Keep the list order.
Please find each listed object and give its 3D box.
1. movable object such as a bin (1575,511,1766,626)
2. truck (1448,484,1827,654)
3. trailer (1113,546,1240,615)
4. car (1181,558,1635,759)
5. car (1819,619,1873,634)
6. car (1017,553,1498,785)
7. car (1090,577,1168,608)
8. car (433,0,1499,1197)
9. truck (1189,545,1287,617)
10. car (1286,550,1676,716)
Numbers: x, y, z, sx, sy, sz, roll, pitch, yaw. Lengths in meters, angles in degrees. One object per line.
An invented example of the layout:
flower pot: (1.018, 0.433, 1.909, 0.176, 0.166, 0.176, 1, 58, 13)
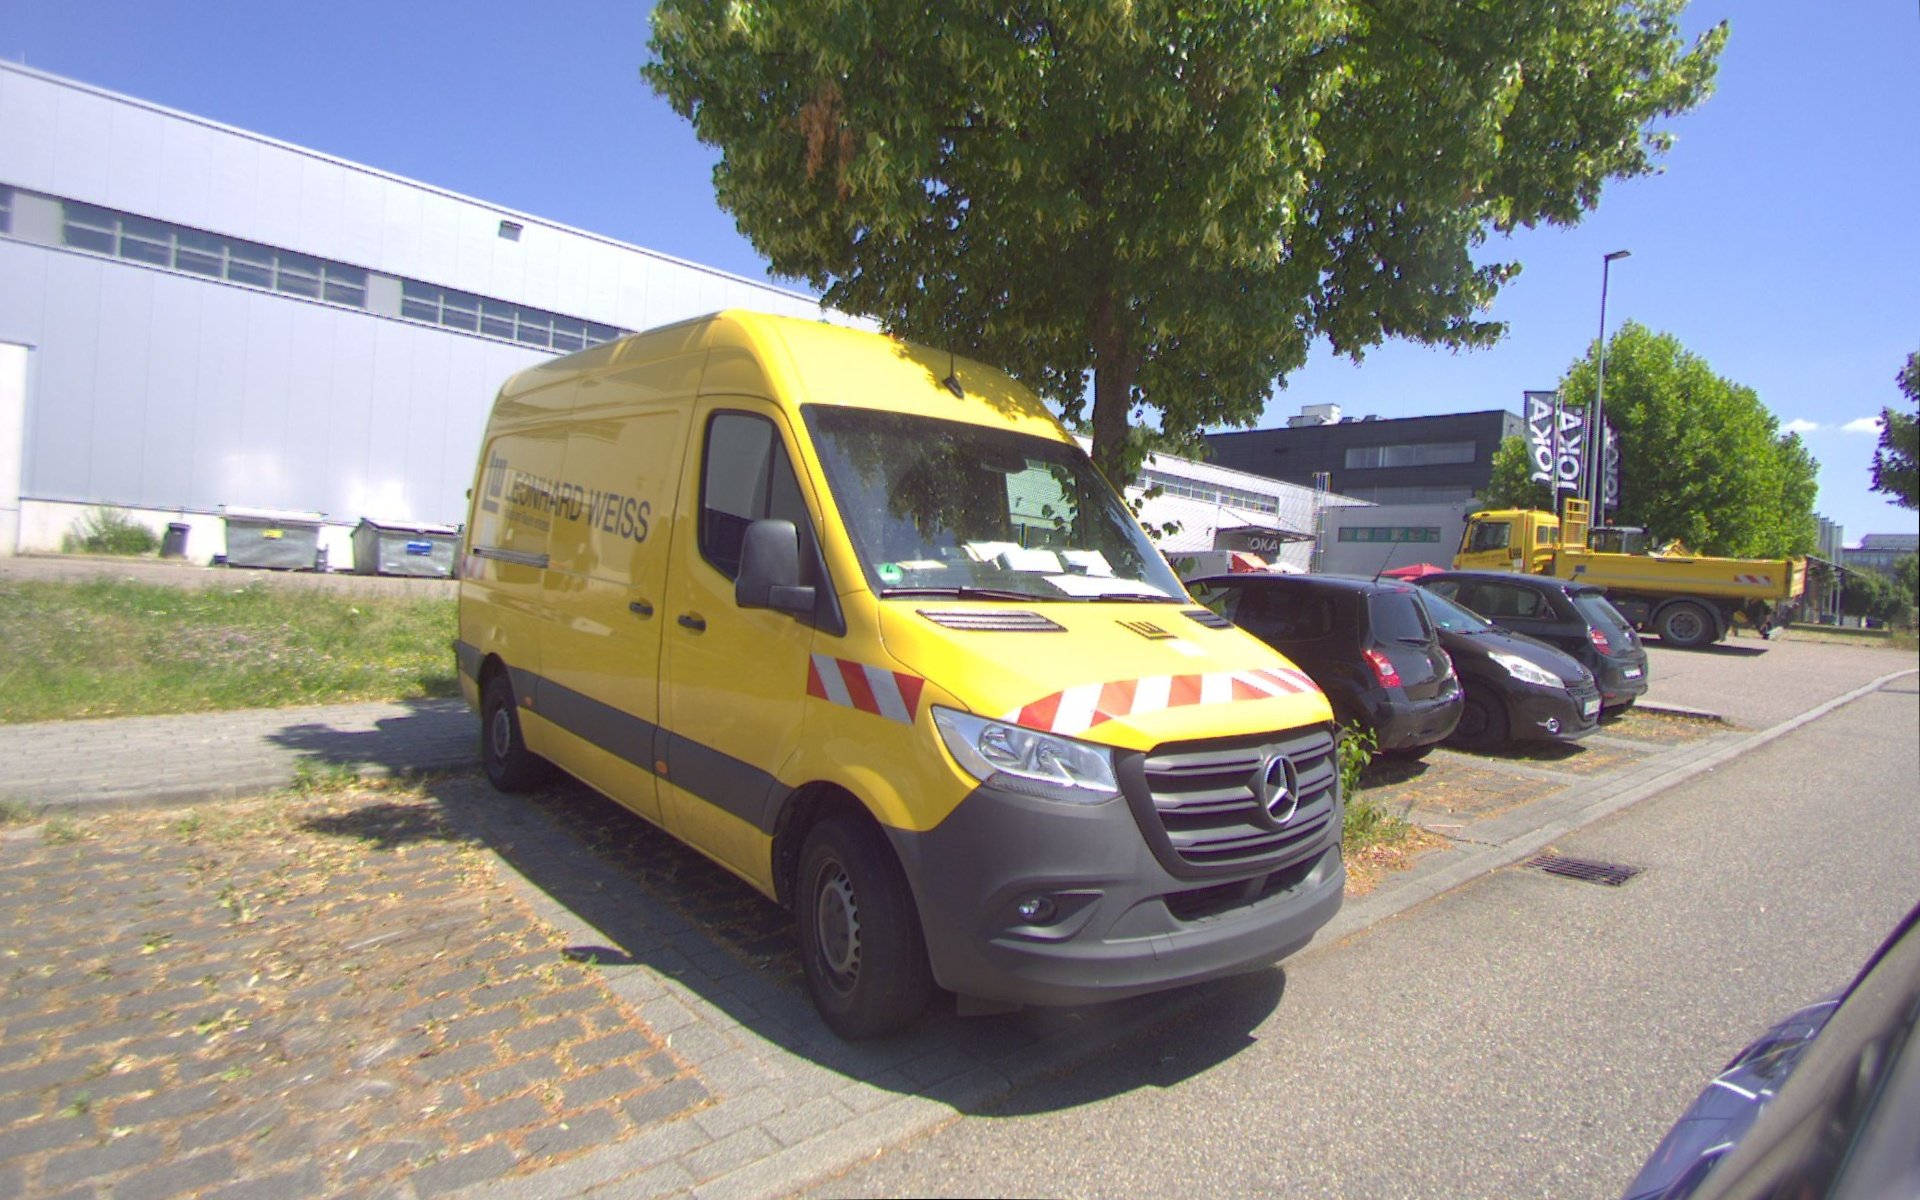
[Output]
movable object such as a bin: (18.206, -0.746, 25.779, 6.455, 2.613, 2.000, 0, 2, -37)
truck: (14.572, -0.793, 22.159, 2.554, 3.174, 6.409, -1, 4, -45)
trailer: (11.891, -1.135, 56.123, 2.140, 3.503, 6.698, 6, -2, -43)
car: (4.251, 0.415, 10.037, 1.564, 1.525, 3.776, 1, 3, -43)
car: (88.104, 2.624, 100.653, 1.582, 1.290, 3.838, 2, 1, -42)
car: (2.353, 0.406, 8.655, 1.600, 1.496, 3.607, 1, 2, -43)
car: (9.009, -0.410, 54.091, 1.776, 1.419, 3.790, 5, 0, -41)
car: (-0.835, -0.263, 5.157, 1.964, 2.764, 5.797, 3, 4, -40)
truck: (14.580, -1.028, 53.234, 2.121, 3.496, 4.336, 6, -2, -44)
car: (5.939, 0.265, 11.860, 1.599, 1.480, 3.669, 1, 4, -41)
